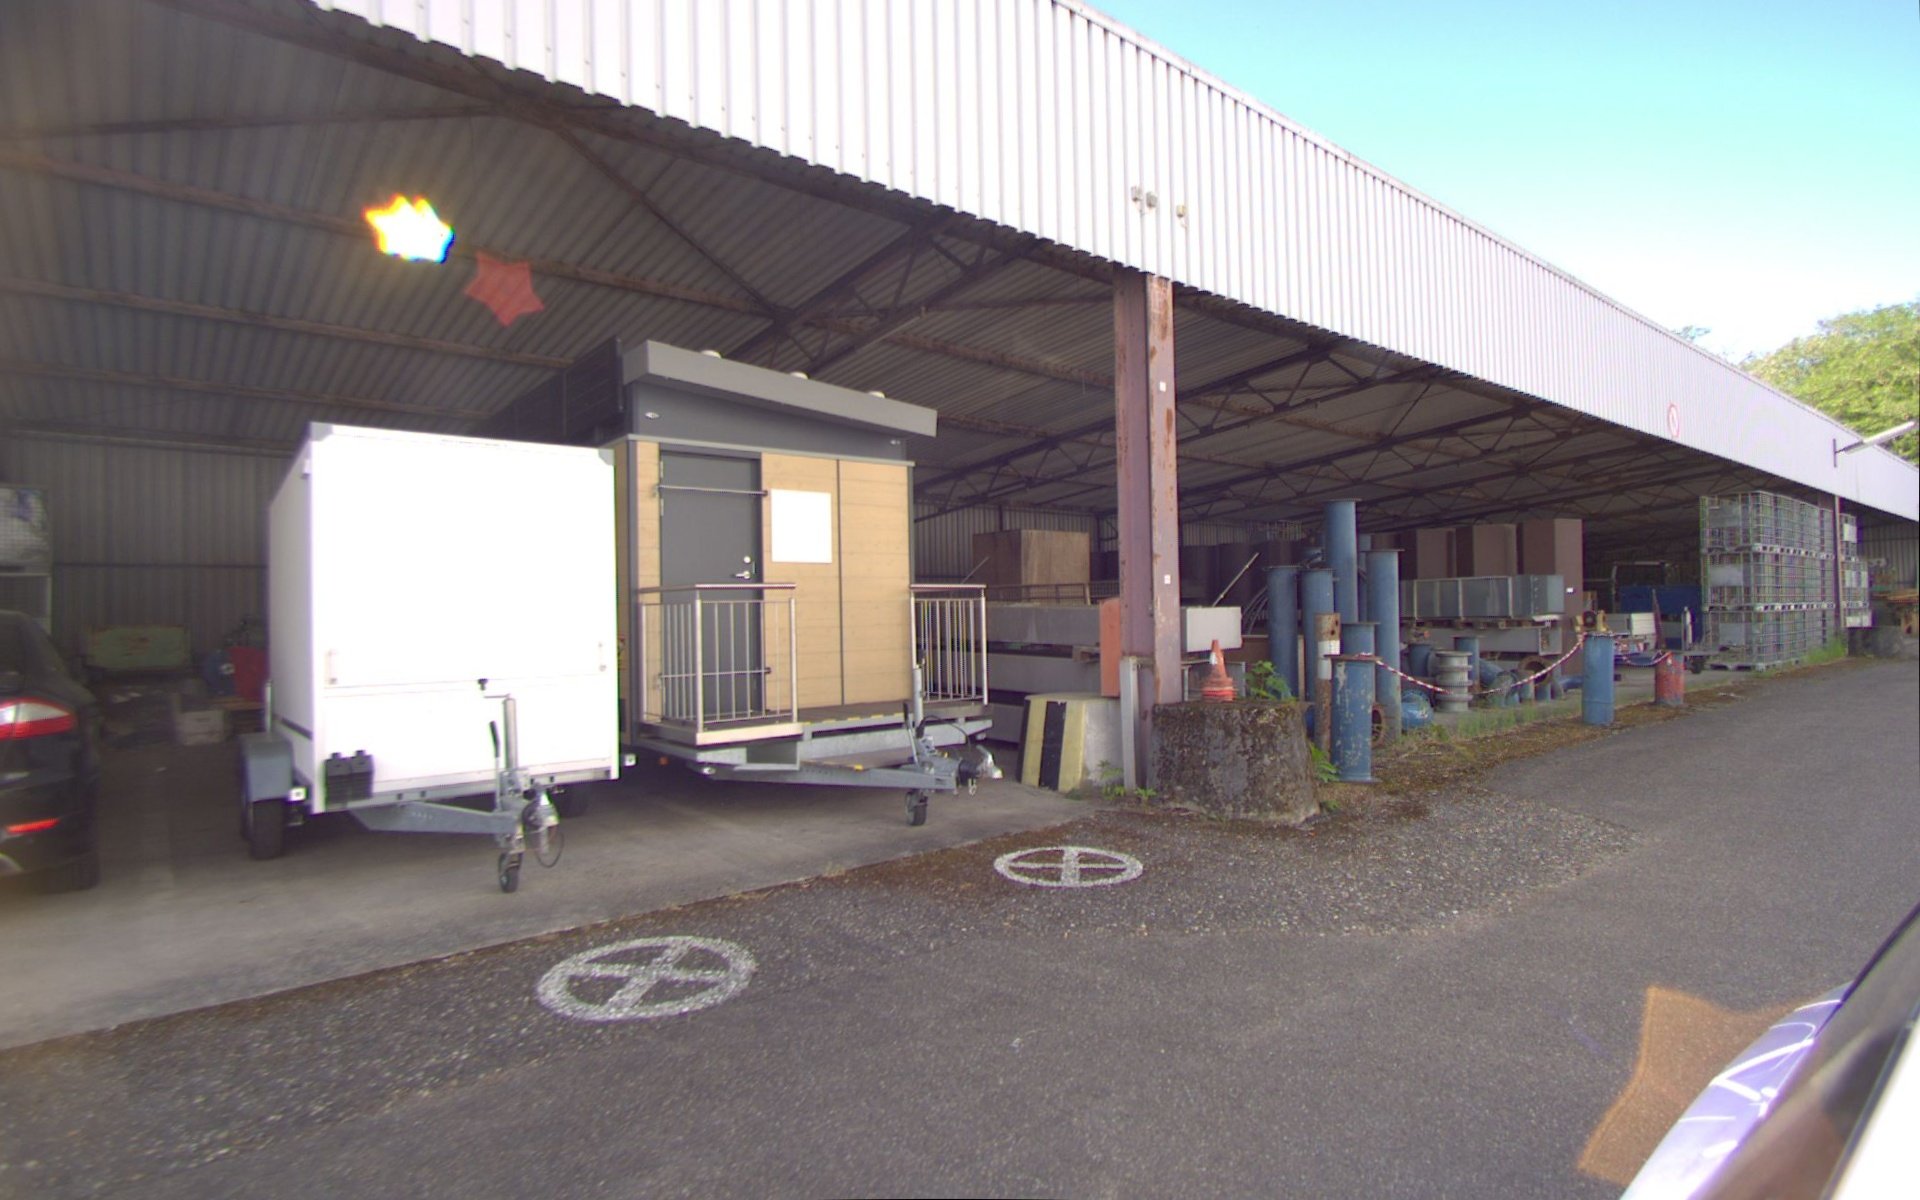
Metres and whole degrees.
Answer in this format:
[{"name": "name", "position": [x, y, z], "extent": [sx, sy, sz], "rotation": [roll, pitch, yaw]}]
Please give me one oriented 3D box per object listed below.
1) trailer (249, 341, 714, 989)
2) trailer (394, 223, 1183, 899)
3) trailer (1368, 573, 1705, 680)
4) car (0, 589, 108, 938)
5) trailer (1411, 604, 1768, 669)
[{"name": "trailer", "position": [-3.284, 0.264, 6.293], "extent": [1.792, 2.422, 4.828], "rotation": [-1, -1, -35]}, {"name": "trailer", "position": [-2.813, -0.137, 9.667], "extent": [2.803, 3.257, 10.056], "rotation": [0, -1, -39]}, {"name": "trailer", "position": [10.173, 0.438, 18.213], "extent": [1.994, 1.649, 4.875], "rotation": [-1, -1, -40]}, {"name": "car", "position": [-5.987, 0.751, 5.678], "extent": [1.747, 1.515, 4.334], "rotation": [-1, -1, -42]}, {"name": "trailer", "position": [12.505, 0.682, 20.554], "extent": [1.993, 1.134, 5.832], "rotation": [0, -1, -40]}]
